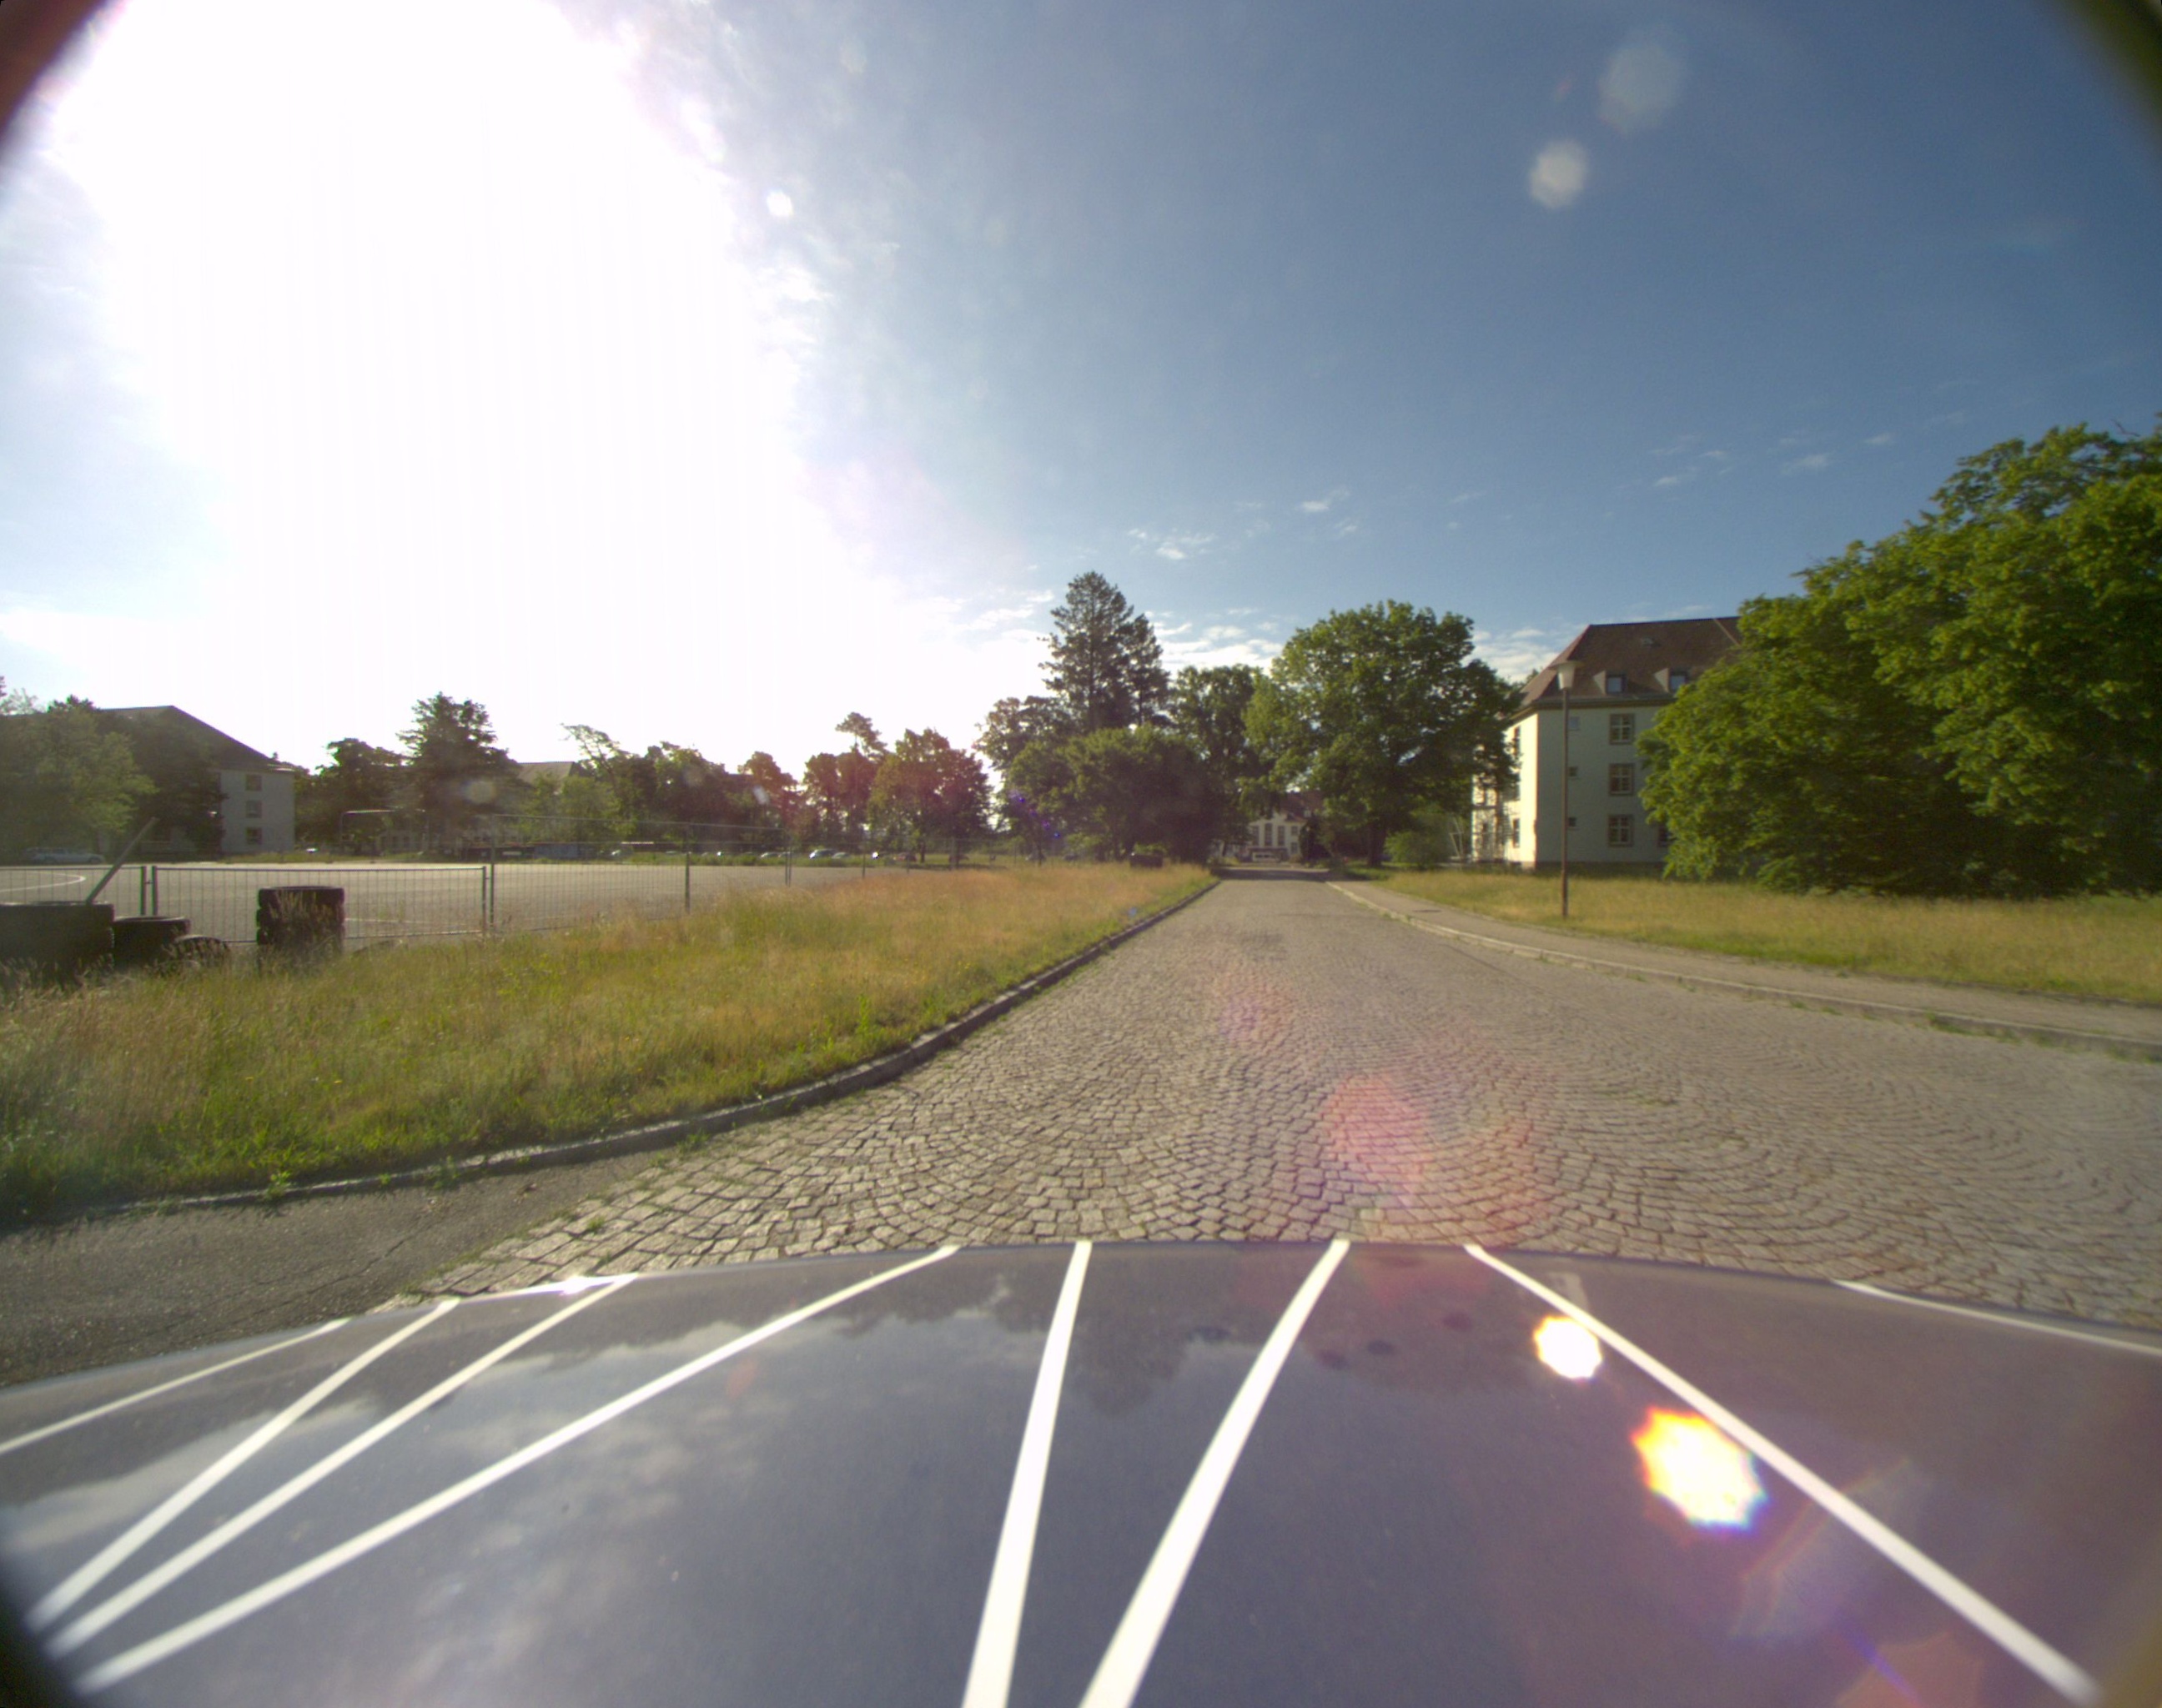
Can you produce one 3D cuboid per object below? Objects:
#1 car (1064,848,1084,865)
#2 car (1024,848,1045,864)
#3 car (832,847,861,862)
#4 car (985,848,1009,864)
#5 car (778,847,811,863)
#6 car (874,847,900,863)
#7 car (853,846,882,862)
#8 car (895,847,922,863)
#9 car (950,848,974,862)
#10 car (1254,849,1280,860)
[{"bbox_3d":[-0.812,0.318,93.568,1.997,2.002,4.002,0,0,7],"label":"car"},{"bbox_3d":[-5.785,0.244,95.009,1.997,2.002,4.002,0,0,7],"label":"car"},{"bbox_3d":[-31.317,0.034,101.666,1.997,1.936,4.003,1,1,11],"label":"car"},{"bbox_3d":[-10.692,0.248,96.848,1.997,2.002,4.003,1,0,11],"label":"car"},{"bbox_3d":[-38.906,0.126,103.411,1.996,2.002,4.005,-2,0,20],"label":"car"},{"bbox_3d":[-25.467,0.089,99.777,1.998,2.002,4.001,1,0,5],"label":"car"},{"bbox_3d":[-28.711,0.010,102.212,1.996,2.002,4.004,1,0,14],"label":"car"},{"bbox_3d":[-22.523,0.096,99.393,1.996,2.002,4.004,1,0,12],"label":"car"},{"bbox_3d":[-15.291,0.119,97.562,1.997,1.805,4.002,1,0,7],"label":"car"},{"bbox_3d":[36.480,0.163,148.856,4.865,2.083,2.002,1,1,13],"label":"car"}]
